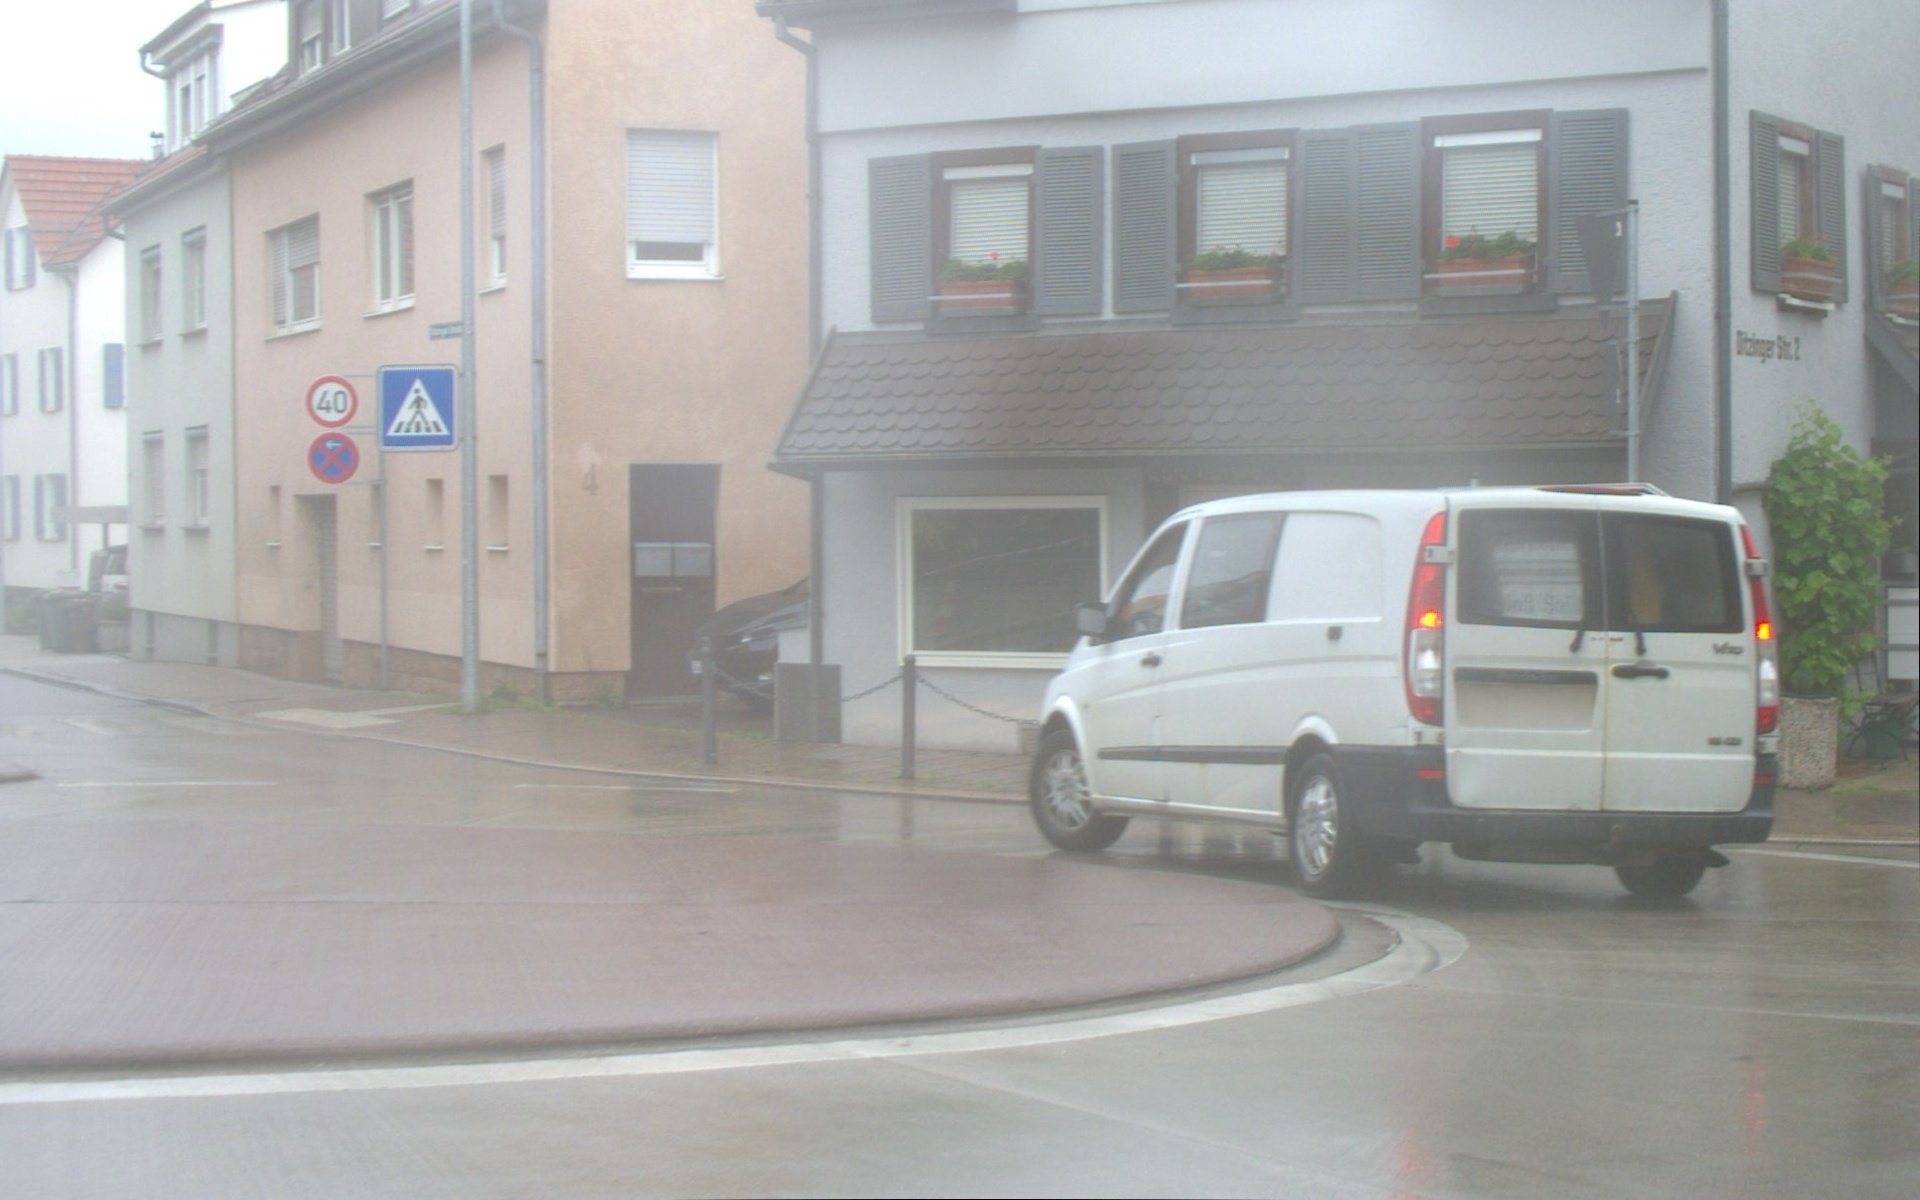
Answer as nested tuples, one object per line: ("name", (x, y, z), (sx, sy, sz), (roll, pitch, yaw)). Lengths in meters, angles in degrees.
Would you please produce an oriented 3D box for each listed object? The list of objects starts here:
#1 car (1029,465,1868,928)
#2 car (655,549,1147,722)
("car", (2.127, 0.406, 16.732), (2.152, 1.892, 4.926), (0, 0, -17))
("car", (-0.539, 0.307, 31.167), (3.986, 1.481, 2.000), (0, 0, -27))
